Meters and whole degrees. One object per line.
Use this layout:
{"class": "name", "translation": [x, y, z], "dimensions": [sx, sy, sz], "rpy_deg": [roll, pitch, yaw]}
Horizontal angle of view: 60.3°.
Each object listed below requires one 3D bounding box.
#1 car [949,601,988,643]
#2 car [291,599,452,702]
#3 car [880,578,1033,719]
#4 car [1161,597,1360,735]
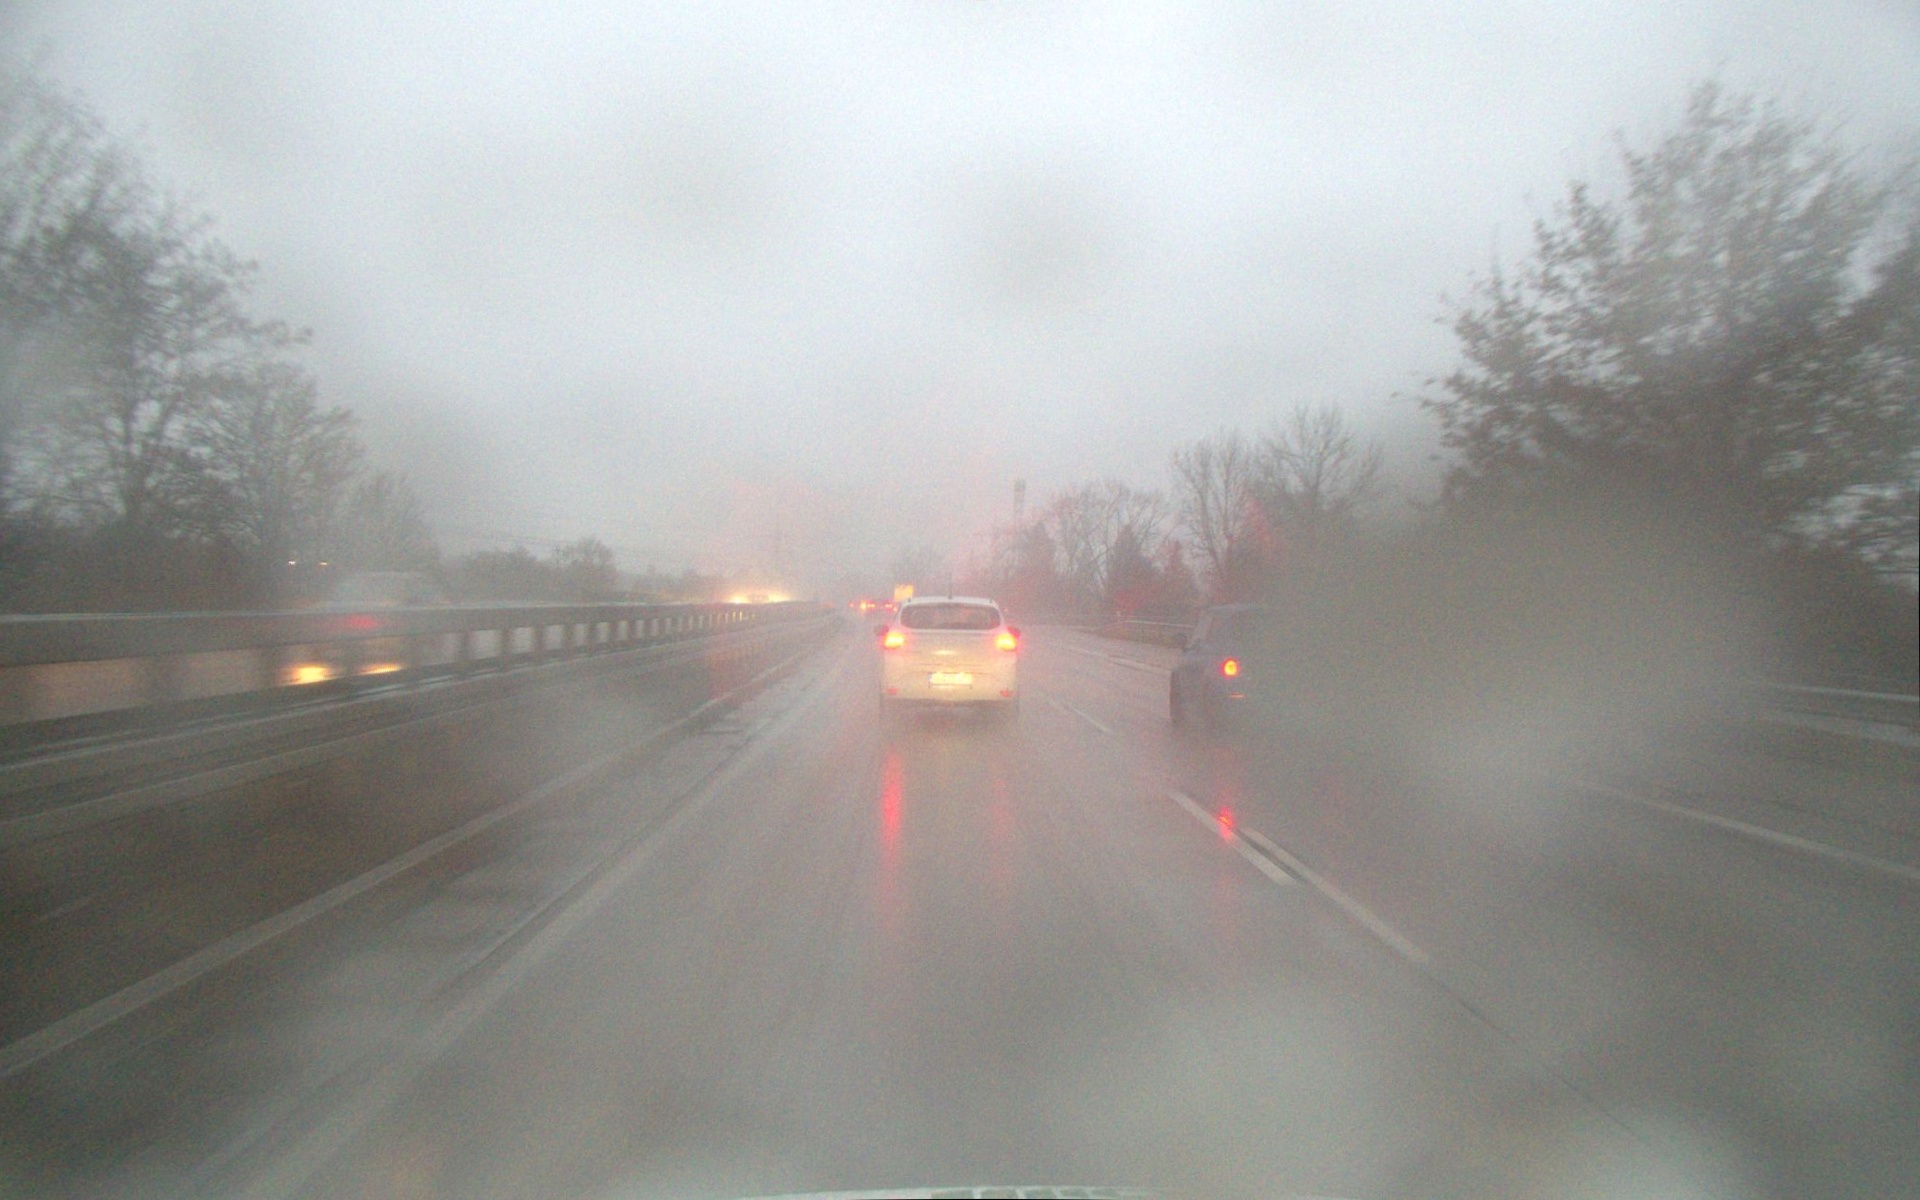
{"class": "car", "translation": [0.447, 1.180, 87.203], "dimensions": [1.836, 1.936, 4.000], "rpy_deg": [6, -1, 0]}
{"class": "car", "translation": [-11.499, 0.963, 32.600], "dimensions": [1.709, 1.865, 4.134], "rpy_deg": [-1, -1, -1]}
{"class": "car", "translation": [-0.077, 0.567, 21.688], "dimensions": [1.808, 1.664, 3.767], "rpy_deg": [1, 0, -1]}
{"class": "car", "translation": [3.616, 0.737, 20.593], "dimensions": [1.807, 1.479, 4.149], "rpy_deg": [1, 0, 1]}
